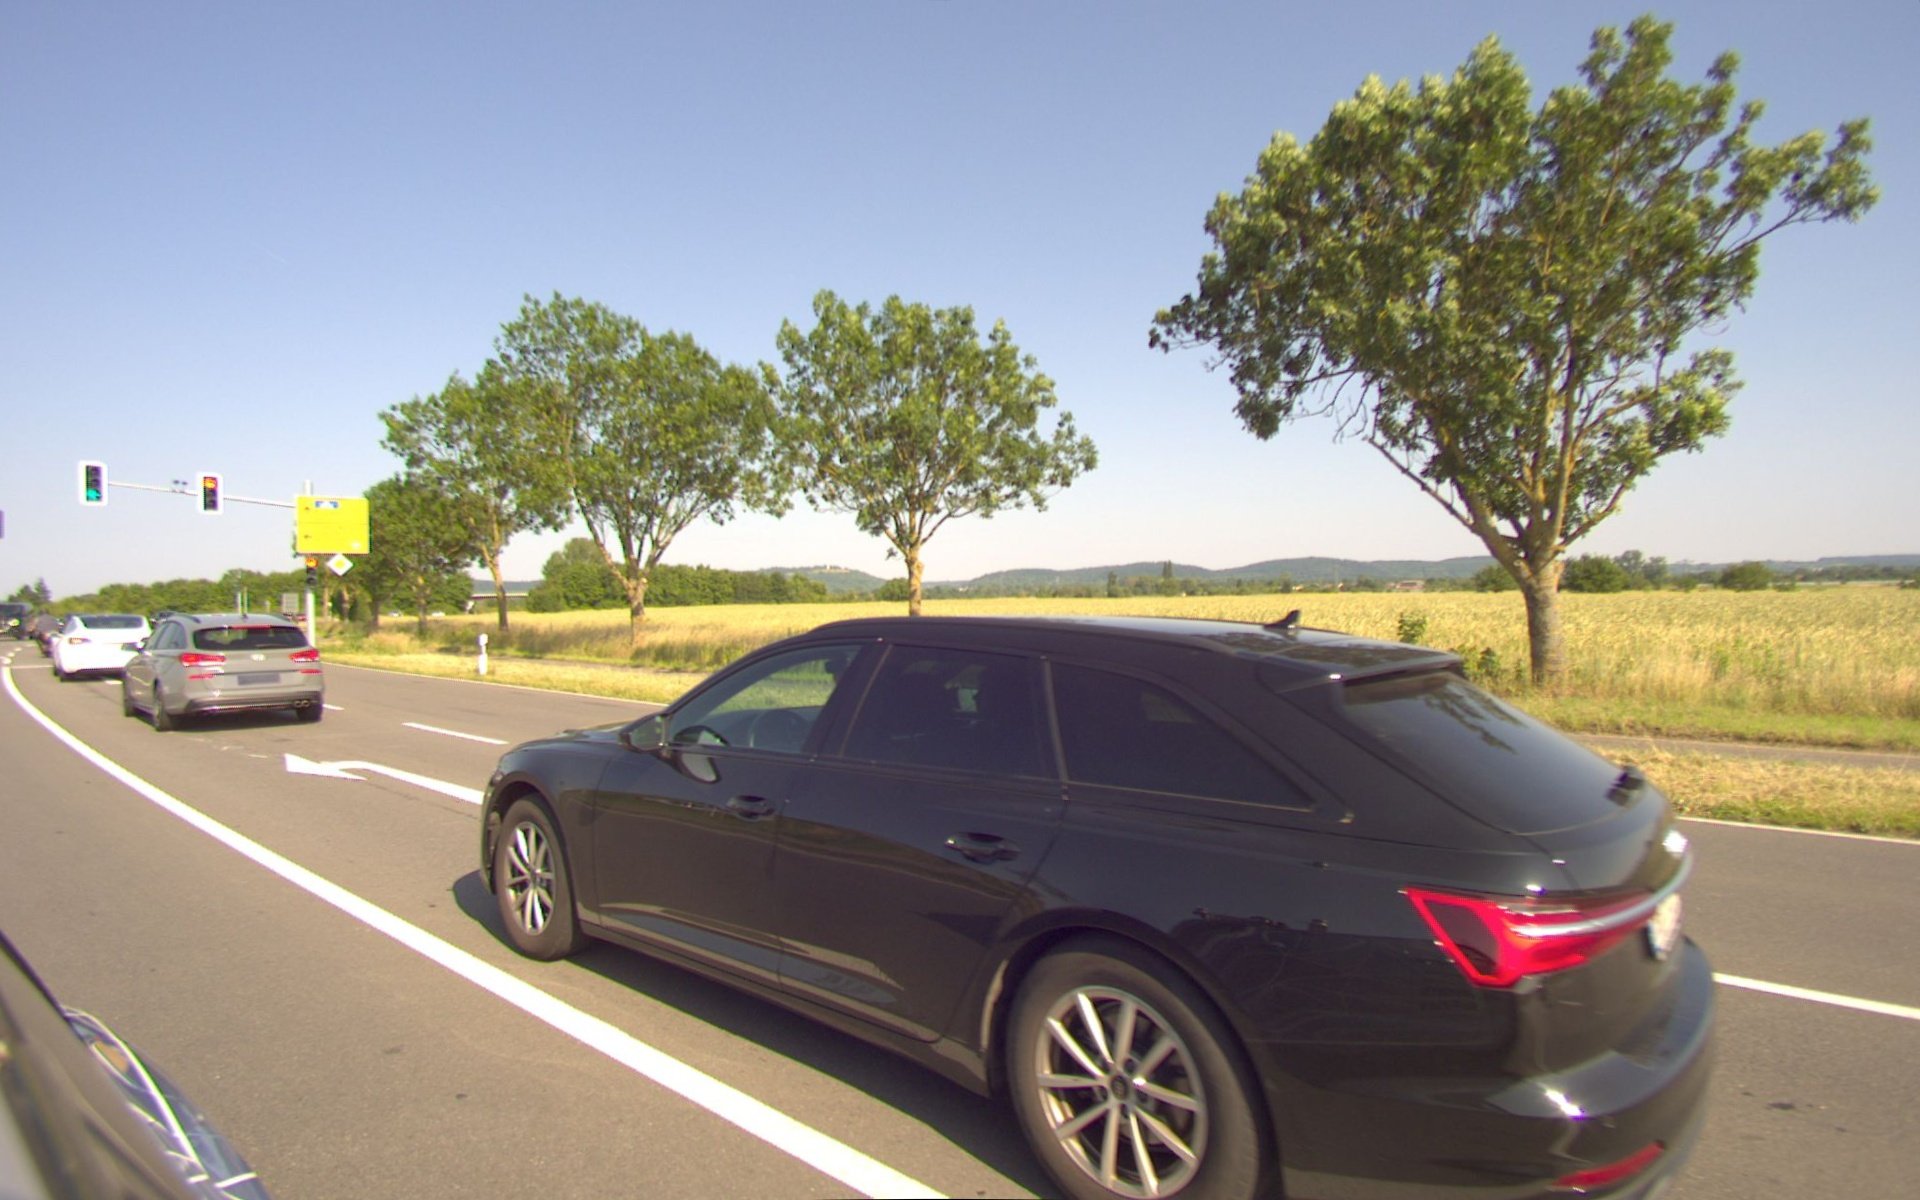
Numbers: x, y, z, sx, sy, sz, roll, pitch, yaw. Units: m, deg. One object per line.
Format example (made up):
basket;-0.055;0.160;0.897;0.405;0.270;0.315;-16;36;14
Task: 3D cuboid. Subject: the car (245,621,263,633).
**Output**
car;-87.354;3.323;125.273;1.606;1.387;4.435;2;-2;-32

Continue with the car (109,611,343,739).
car;-10.256;0.903;14.011;4.306;1.472;1.869;-1;0;44

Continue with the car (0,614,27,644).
car;-50.746;1.539;53.533;1.833;1.554;4.007;0;-1;-40

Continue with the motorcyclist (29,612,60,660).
motorcyclist;-29.605;1.157;32.723;1.181;1.527;0.671;-1;-1;43

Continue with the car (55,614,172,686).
car;-19.529;1.066;23.281;1.867;1.477;4.280;0;-1;-43

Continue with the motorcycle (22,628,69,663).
motorcycle;-29.370;1.435;32.487;2.428;1.051;0.887;-1;-1;43

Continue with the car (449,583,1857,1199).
car;0.087;0.719;3.754;4.794;1.447;1.870;-1;0;41

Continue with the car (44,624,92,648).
car;-61.894;2.493;70.294;1.831;1.554;4.011;0;-1;-32

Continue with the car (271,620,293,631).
car;-97.544;3.685;145.617;1.858;1.638;4.013;2;-2;-24
